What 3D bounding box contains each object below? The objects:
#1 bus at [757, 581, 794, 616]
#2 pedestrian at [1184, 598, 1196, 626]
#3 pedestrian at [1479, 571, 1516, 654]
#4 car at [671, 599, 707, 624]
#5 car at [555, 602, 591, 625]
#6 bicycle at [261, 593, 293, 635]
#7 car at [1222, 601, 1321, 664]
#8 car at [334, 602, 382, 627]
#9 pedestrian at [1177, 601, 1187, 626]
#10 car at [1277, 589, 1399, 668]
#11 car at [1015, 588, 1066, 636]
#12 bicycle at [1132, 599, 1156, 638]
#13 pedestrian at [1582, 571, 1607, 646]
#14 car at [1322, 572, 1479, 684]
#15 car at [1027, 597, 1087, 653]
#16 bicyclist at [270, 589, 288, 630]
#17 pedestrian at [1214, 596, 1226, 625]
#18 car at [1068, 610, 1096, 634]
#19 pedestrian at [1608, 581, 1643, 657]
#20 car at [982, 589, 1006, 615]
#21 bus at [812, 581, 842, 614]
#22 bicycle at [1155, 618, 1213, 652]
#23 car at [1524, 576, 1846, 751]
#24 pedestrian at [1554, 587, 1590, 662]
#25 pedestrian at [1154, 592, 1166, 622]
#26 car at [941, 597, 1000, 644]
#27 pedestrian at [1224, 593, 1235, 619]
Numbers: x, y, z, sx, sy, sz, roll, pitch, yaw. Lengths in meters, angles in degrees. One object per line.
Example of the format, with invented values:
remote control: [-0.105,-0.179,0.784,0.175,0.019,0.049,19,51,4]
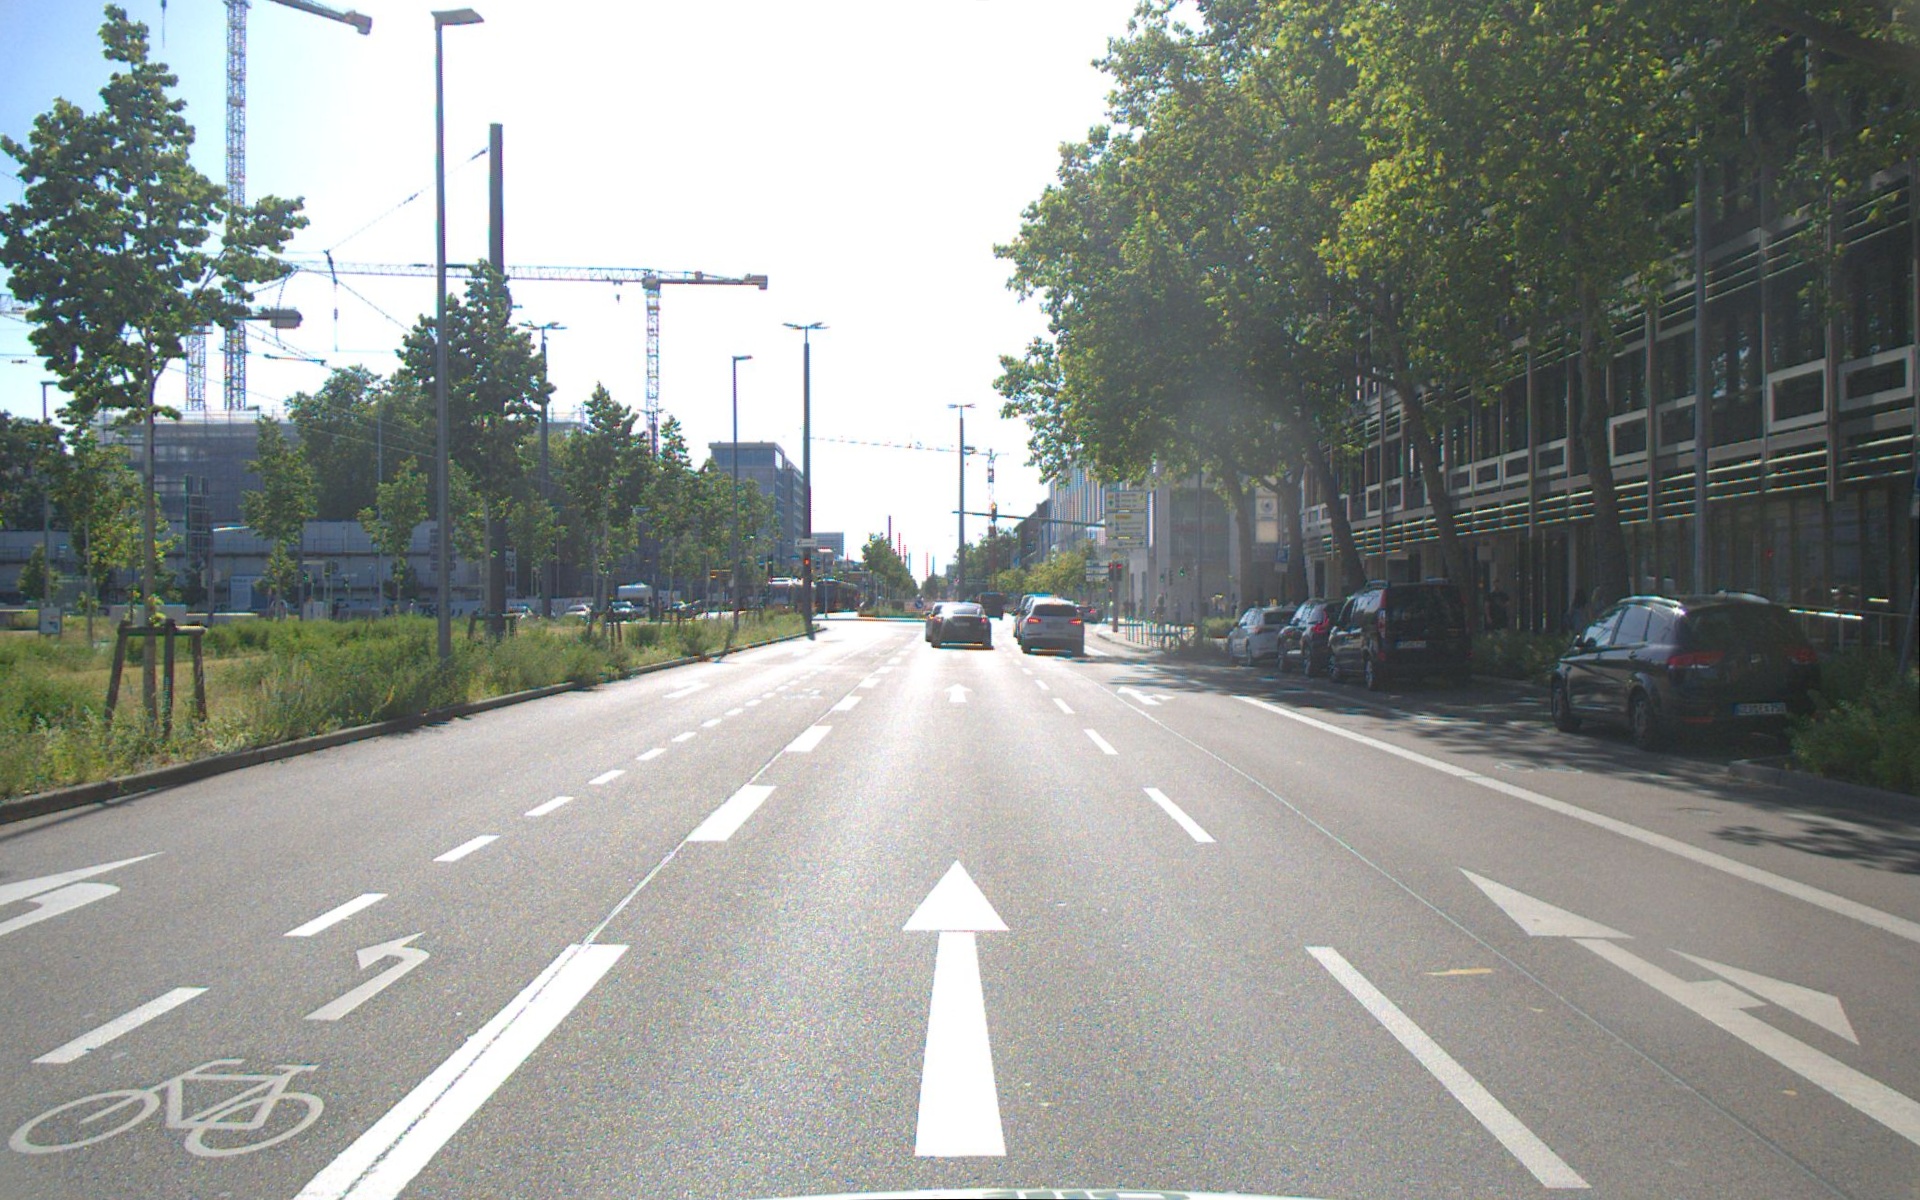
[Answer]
bus: [-16.151,-0.065,145.586,2.575,2.832,8.839,2,-1,-3]
pedestrian: [12.104,0.618,87.030,0.550,1.466,0.632,2,-1,7]
pedestrian: [12.881,0.295,39.660,0.663,1.950,0.557,2,-1,0]
car: [-14.000,0.616,85.601,1.348,1.199,3.219,2,-1,-1]
car: [-29.370,1.028,125.771,1.800,1.641,3.895,2,-1,-1]
bicycle: [-24.983,0.501,60.497,0.353,1.481,1.913,0,0,0]
car: [7.864,0.783,42.150,1.669,1.519,4.600,0,0,0]
car: [-40.263,0.962,110.682,1.675,1.583,4.000,2,-1,0]
pedestrian: [12.830,0.779,95.611,0.550,1.466,0.632,2,-1,7]
car: [7.999,0.584,35.352,1.669,1.591,4.192,0,0,0]
car: [3.114,0.465,64.695,1.687,1.814,4.185,0,0,-2]
bicycle: [7.064,0.707,63.492,0.550,1.466,2.576,2,-1,-1]
pedestrian: [13.838,0.188,36.055,0.309,1.612,0.500,0,0,-9]
car: [7.877,0.460,29.961,1.669,1.821,4.192,-2,0,0]
car: [2.950,0.730,50.862,1.686,1.646,4.187,0,0,1]
bicyclist: [-24.945,0.347,60.567,0.386,1.480,0.539,2,0,-1]
pedestrian: [13.620,0.552,86.564,0.550,1.466,0.632,2,-1,7]
car: [8.892,1.599,121.125,1.629,1.678,3.699,2,-1,-2]
pedestrian: [14.422,0.398,35.844,0.542,1.631,0.573,0,0,0]
car: [2.843,0.208,138.744,1.953,2.049,3.999,2,-1,0]
bus: [-13.044,-0.213,162.647,2.575,3.011,9.893,2,-1,-3]
bicycle: [6.856,1.075,50.650,1.660,0.974,0.478,-2,0,-5]
car: [7.935,0.617,18.621,1.669,1.672,4.637,-2,0,2]
pedestrian: [13.327,0.527,36.026,0.496,1.612,0.634,0,0,-9]
pedestrian: [9.824,0.333,81.174,0.550,1.466,0.632,2,-1,7]
car: [0.302,0.654,54.782,1.873,1.512,4.009,0,0,-1]
pedestrian: [15.712,0.341,96.493,0.550,1.466,0.632,2,-1,7]
